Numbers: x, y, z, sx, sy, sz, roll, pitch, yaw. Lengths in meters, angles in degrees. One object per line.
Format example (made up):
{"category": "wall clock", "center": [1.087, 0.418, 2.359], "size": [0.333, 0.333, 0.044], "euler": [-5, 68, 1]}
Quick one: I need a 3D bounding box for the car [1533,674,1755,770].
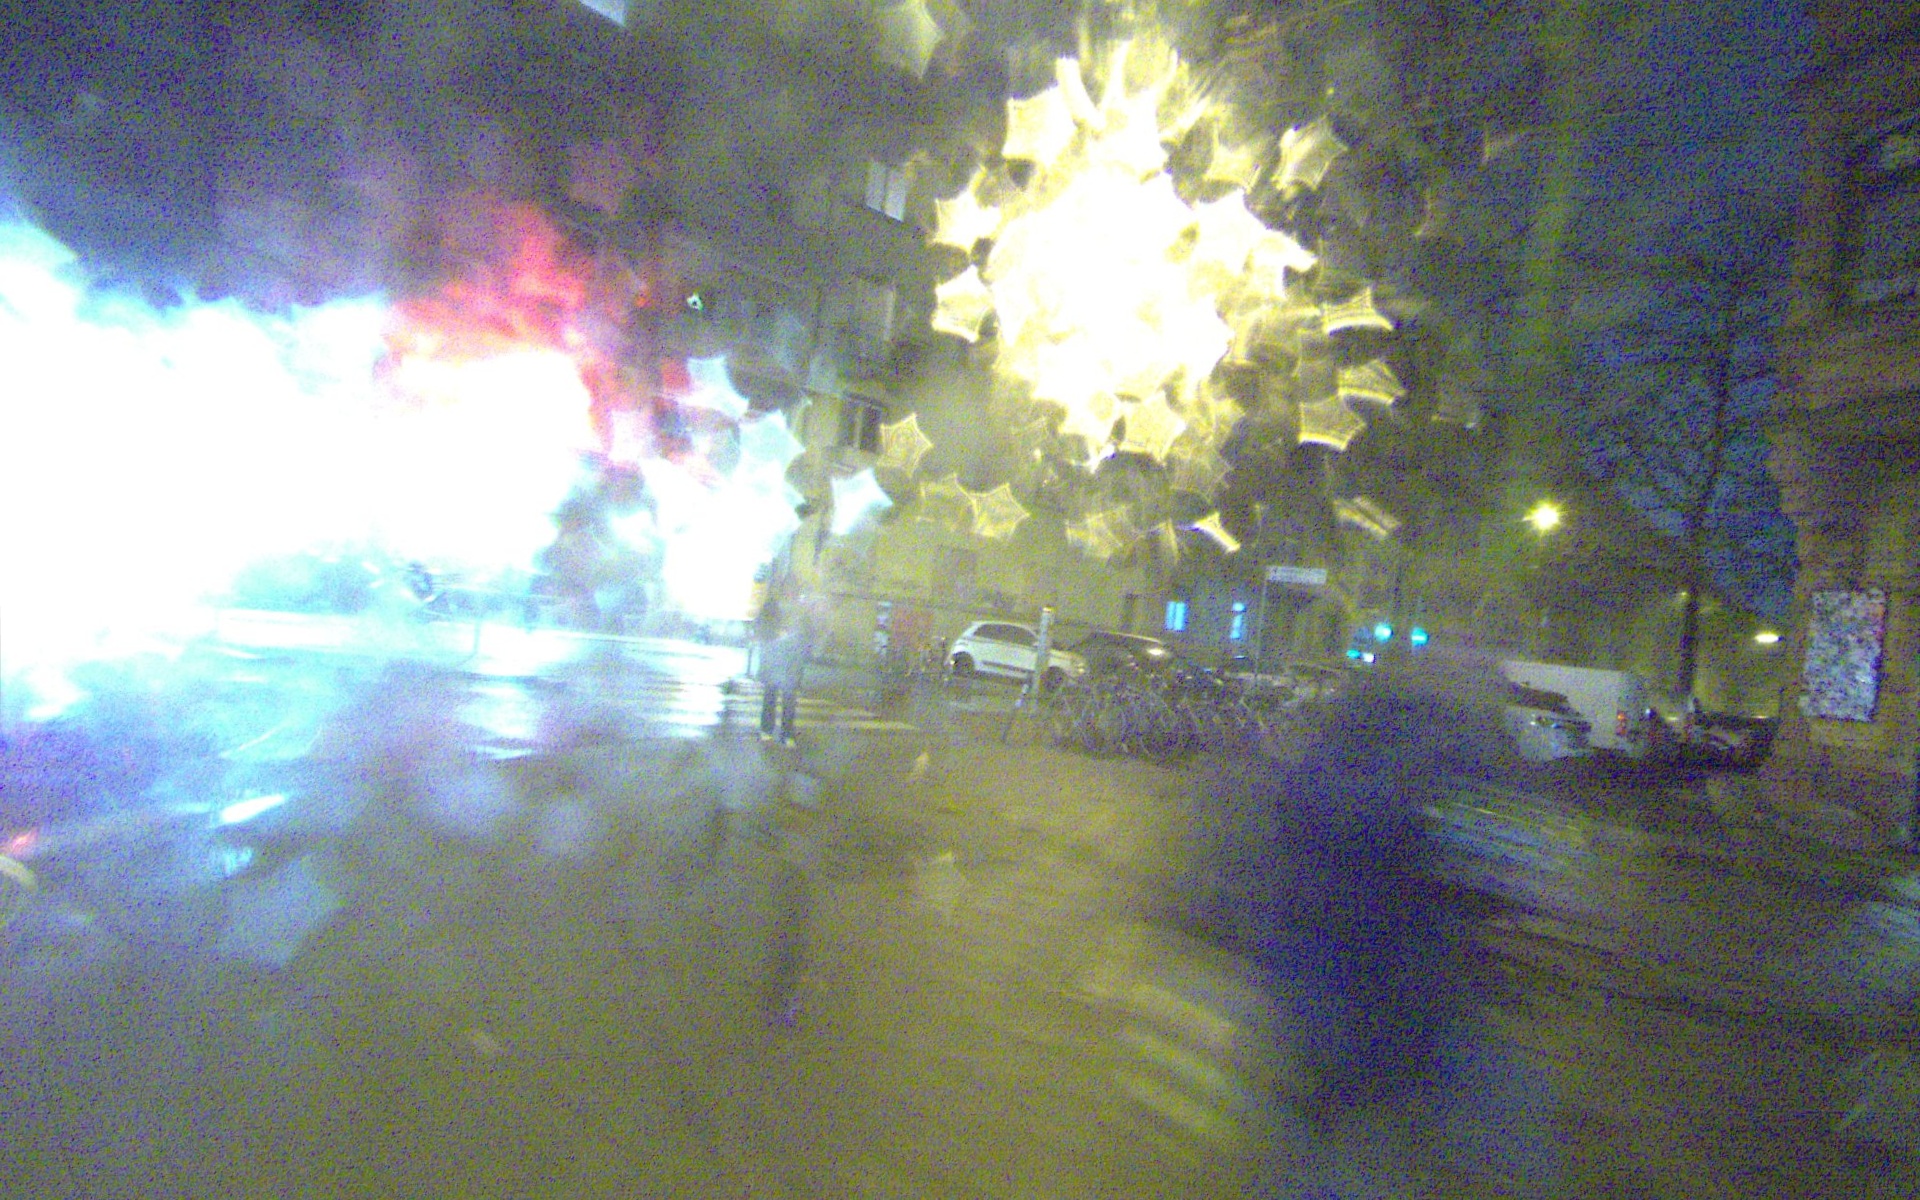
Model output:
{"category": "car", "center": [17.859, 3.160, 26.415], "size": [1.989, 1.783, 4.407], "euler": [9, -2, -45]}

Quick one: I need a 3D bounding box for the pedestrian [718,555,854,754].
{"category": "pedestrian", "center": [-1.767, 0.533, 10.130], "size": [0.870, 1.856, 0.976], "euler": [6, 0, -32]}

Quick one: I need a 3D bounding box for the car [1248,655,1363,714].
{"category": "car", "center": [12.162, 2.978, 35.462], "size": [3.625, 1.595, 1.758], "euler": [6, -3, 21]}

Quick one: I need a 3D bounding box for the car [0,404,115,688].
{"category": "car", "center": [-9.001, -0.615, 8.075], "size": [4.528, 2.015, 2.125], "euler": [6, -1, 34]}

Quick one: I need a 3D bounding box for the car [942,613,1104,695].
{"category": "car", "center": [1.611, 1.378, 25.558], "size": [3.625, 1.595, 1.758], "euler": [6, -3, 21]}

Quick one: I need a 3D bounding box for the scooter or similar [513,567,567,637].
{"category": "scooter or similar", "center": [-8.419, 0.027, 20.154], "size": [0.523, 1.244, 1.299], "euler": [8, -1, -38]}

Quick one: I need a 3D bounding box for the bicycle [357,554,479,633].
{"category": "bicycle", "center": [-9.645, -0.093, 17.944], "size": [1.774, 1.188, 0.380], "euler": [8, -1, -40]}

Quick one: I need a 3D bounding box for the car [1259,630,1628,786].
{"category": "car", "center": [7.852, 1.694, 16.753], "size": [1.989, 1.783, 5.033], "euler": [9, -2, -45]}

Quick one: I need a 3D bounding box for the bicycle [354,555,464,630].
{"category": "bicycle", "center": [-10.226, -0.121, 18.705], "size": [1.636, 1.187, 0.380], "euler": [9, -4, -40]}

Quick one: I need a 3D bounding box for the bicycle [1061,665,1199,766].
{"category": "bicycle", "center": [2.162, 1.466, 13.006], "size": [0.401, 1.021, 1.788], "euler": [7, 0, -43]}

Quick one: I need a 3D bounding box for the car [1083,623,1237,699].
{"category": "car", "center": [5.838, 1.781, 29.354], "size": [4.031, 1.681, 1.758], "euler": [6, -3, 21]}

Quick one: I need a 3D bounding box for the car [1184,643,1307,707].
{"category": "car", "center": [9.396, 2.469, 33.064], "size": [3.625, 1.595, 1.758], "euler": [6, -3, 21]}

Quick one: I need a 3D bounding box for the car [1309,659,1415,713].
{"category": "car", "center": [15.726, 3.373, 39.477], "size": [3.625, 1.595, 1.758], "euler": [6, -3, 21]}

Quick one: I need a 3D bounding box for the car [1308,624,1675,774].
{"category": "car", "center": [9.520, 1.715, 18.448], "size": [1.989, 1.912, 5.478], "euler": [8, -2, -45]}

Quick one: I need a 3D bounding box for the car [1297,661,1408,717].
{"category": "car", "center": [14.521, 3.292, 37.352], "size": [3.625, 1.595, 1.758], "euler": [6, -3, 21]}

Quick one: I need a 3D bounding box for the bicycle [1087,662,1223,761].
{"category": "bicycle", "center": [2.534, 1.443, 13.261], "size": [0.377, 1.021, 1.788], "euler": [7, 0, -43]}

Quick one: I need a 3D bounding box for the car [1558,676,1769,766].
{"category": "car", "center": [19.482, 3.332, 27.975], "size": [1.989, 1.783, 4.407], "euler": [9, -2, -45]}

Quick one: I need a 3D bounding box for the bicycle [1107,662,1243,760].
{"category": "bicycle", "center": [2.858, 1.470, 13.555], "size": [0.401, 1.021, 1.788], "euler": [7, 0, -43]}

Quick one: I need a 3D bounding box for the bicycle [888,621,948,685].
{"category": "bicycle", "center": [-0.843, 1.125, 20.781], "size": [0.443, 1.189, 1.967], "euler": [6, -3, 19]}

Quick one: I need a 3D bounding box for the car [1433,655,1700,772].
{"category": "car", "center": [12.844, 2.375, 21.494], "size": [1.989, 1.783, 4.407], "euler": [9, -2, -45]}

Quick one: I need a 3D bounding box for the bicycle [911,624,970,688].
{"category": "bicycle", "center": [-0.367, 1.177, 20.643], "size": [0.443, 1.189, 1.967], "euler": [6, -3, 19]}

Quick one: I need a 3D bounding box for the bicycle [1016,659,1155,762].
{"category": "bicycle", "center": [1.565, 1.388, 12.850], "size": [0.452, 1.021, 1.788], "euler": [7, 0, -43]}

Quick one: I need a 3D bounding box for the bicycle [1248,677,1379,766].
{"category": "bicycle", "center": [5.208, 1.782, 14.924], "size": [0.401, 1.021, 1.756], "euler": [7, 0, -43]}

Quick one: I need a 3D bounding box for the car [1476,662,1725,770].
{"category": "car", "center": [14.693, 2.622, 23.253], "size": [1.989, 1.783, 4.407], "euler": [9, -2, -45]}

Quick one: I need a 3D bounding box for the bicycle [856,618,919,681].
{"category": "bicycle", "center": [-1.485, 1.057, 20.981], "size": [0.443, 1.189, 1.967], "euler": [6, -3, 19]}

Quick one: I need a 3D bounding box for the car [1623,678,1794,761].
{"category": "car", "center": [24.075, 3.818, 32.459], "size": [1.986, 2.036, 3.959], "euler": [10, -4, -39]}

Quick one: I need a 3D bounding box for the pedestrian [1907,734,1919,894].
{"category": "pedestrian", "center": [7.933, 1.383, 7.737], "size": [0.786, 1.839, 0.801], "euler": [5, 0, -43]}

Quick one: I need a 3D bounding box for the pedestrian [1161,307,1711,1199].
{"category": "pedestrian", "center": [0.850, 0.529, 1.798], "size": [0.590, 1.791, 0.827], "euler": [6, -1, 34]}

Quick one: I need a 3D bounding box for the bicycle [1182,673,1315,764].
{"category": "bicycle", "center": [4.126, 1.681, 14.508], "size": [0.401, 1.021, 1.788], "euler": [7, 0, -43]}

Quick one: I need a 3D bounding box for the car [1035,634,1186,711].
{"category": "car", "center": [4.110, 1.973, 27.351], "size": [3.625, 1.595, 1.758], "euler": [6, -3, 21]}

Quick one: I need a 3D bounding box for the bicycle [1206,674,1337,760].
{"category": "bicycle", "center": [4.561, 1.699, 14.832], "size": [0.401, 1.020, 1.789], "euler": [8, -3, -43]}
